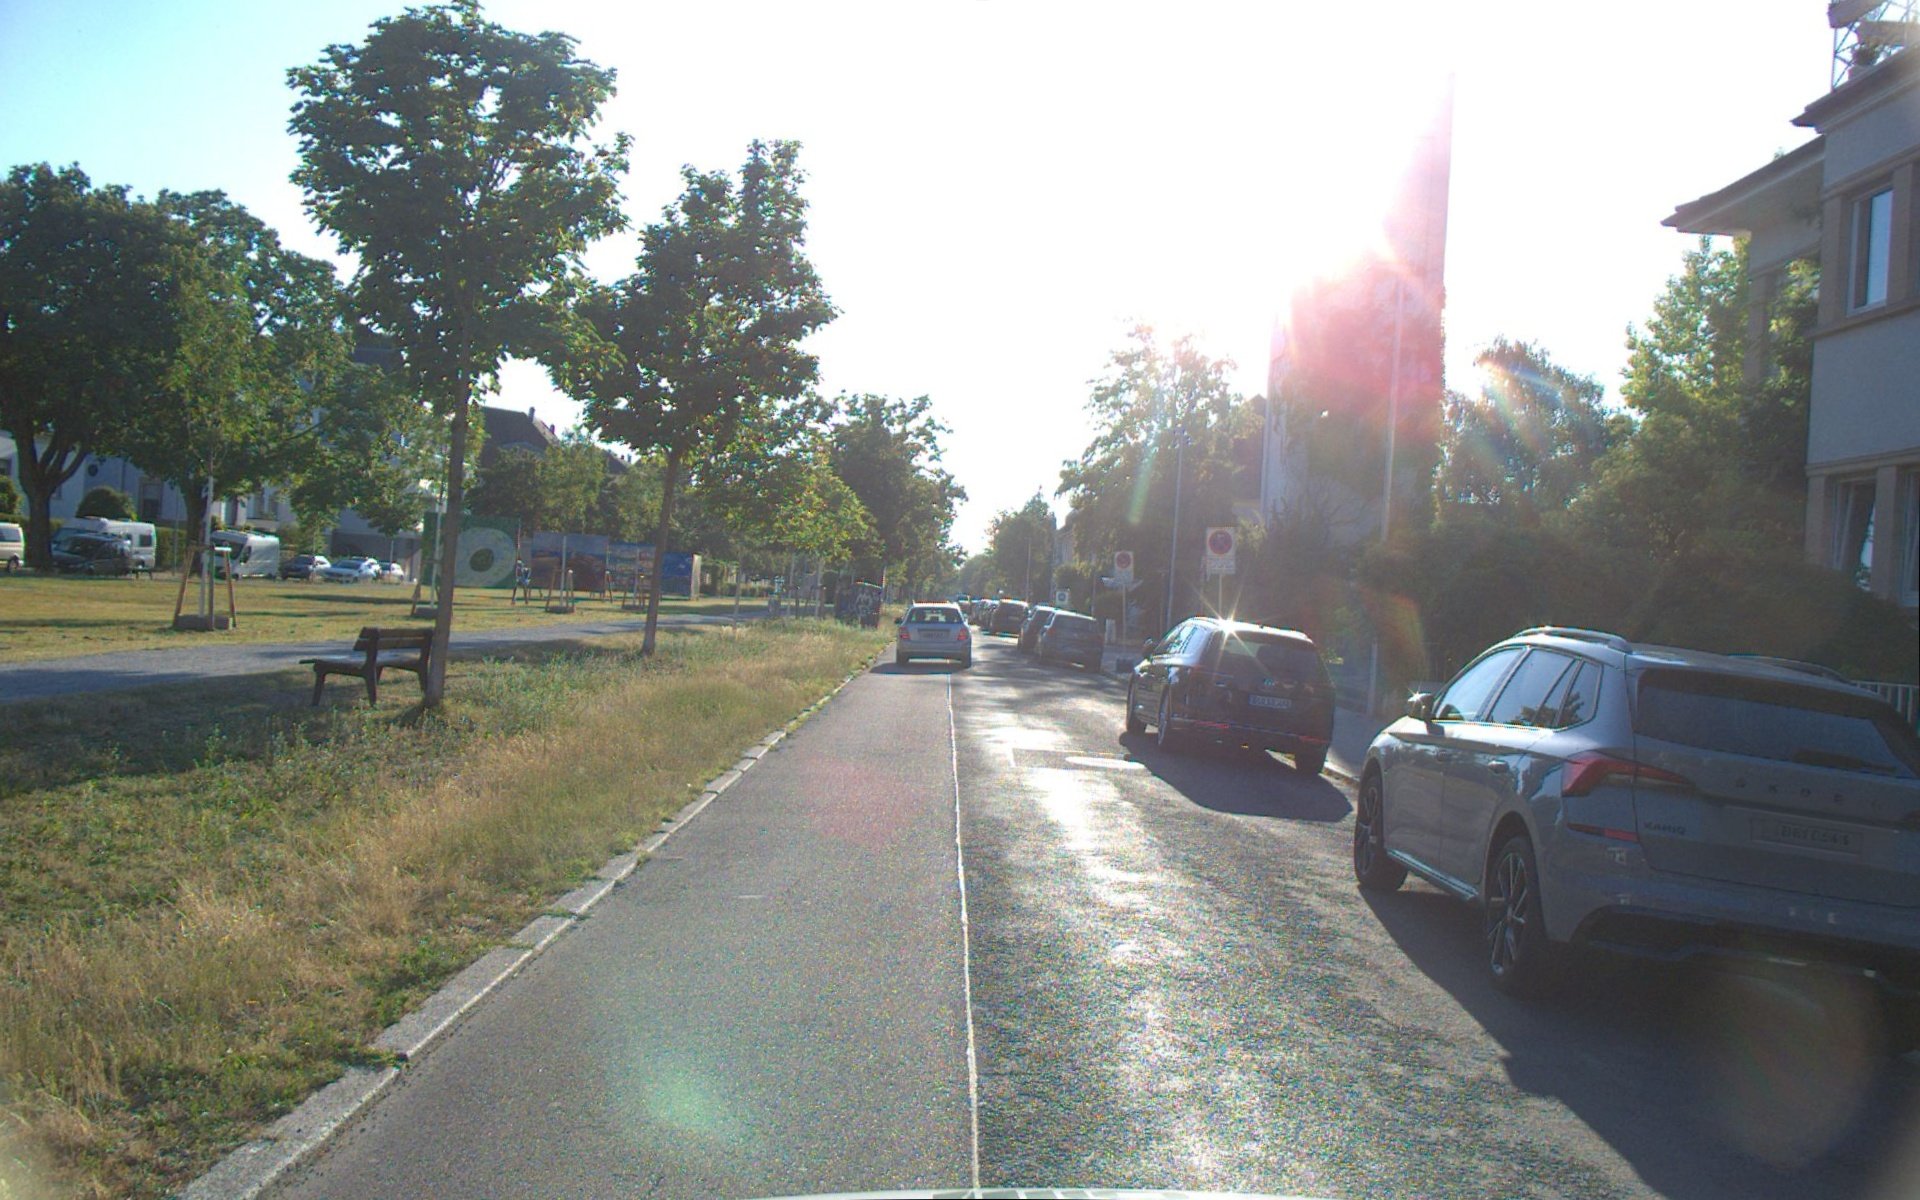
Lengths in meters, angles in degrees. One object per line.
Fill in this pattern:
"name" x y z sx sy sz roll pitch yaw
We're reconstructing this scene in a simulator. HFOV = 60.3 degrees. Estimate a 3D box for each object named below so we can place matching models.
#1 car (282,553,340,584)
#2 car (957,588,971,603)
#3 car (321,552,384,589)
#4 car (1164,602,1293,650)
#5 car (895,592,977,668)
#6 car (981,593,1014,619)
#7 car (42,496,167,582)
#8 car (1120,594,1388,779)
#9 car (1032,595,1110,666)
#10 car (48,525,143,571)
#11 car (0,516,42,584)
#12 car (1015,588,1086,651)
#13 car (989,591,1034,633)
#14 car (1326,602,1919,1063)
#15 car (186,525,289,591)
"car" -39.616 -1.901 101.029 1.745 1.732 4.666 0 -1 -1
"car" 0.547 -0.681 236.435 1.948 2.058 4.000 3 0 0
"car" -33.963 -1.615 92.587 1.795 1.932 4.642 0 -1 1
"car" 10.674 1.058 66.077 4.749 1.512 2.002 4 -3 -1
"car" -0.525 0.654 38.879 1.786 1.594 4.000 2 1 0
"car" 2.422 0.349 107.729 1.953 1.487 4.562 5 0 1
"car" -39.175 -2.723 76.007 2.256 3.621 6.764 0 -1 0
"car" 3.207 0.887 19.133 1.955 1.624 4.884 7 -1 -2
"car" 2.935 0.768 44.610 1.654 1.553 4.175 7 1 0
"car" -33.191 -1.967 63.620 1.385 1.591 4.309 3 0 -1
"car" -39.250 -2.008 66.318 2.092 2.650 5.323 0 -1 -2
"car" 2.773 0.568 51.576 1.787 1.586 4.622 9 1 0
"car" 2.430 0.576 79.873 1.796 1.761 5.031 5 0 -1
"car" 3.292 0.918 8.349 1.845 1.562 4.462 6 -1 1
"car" -33.547 -1.905 76.960 2.214 2.875 5.870 0 -1 0
